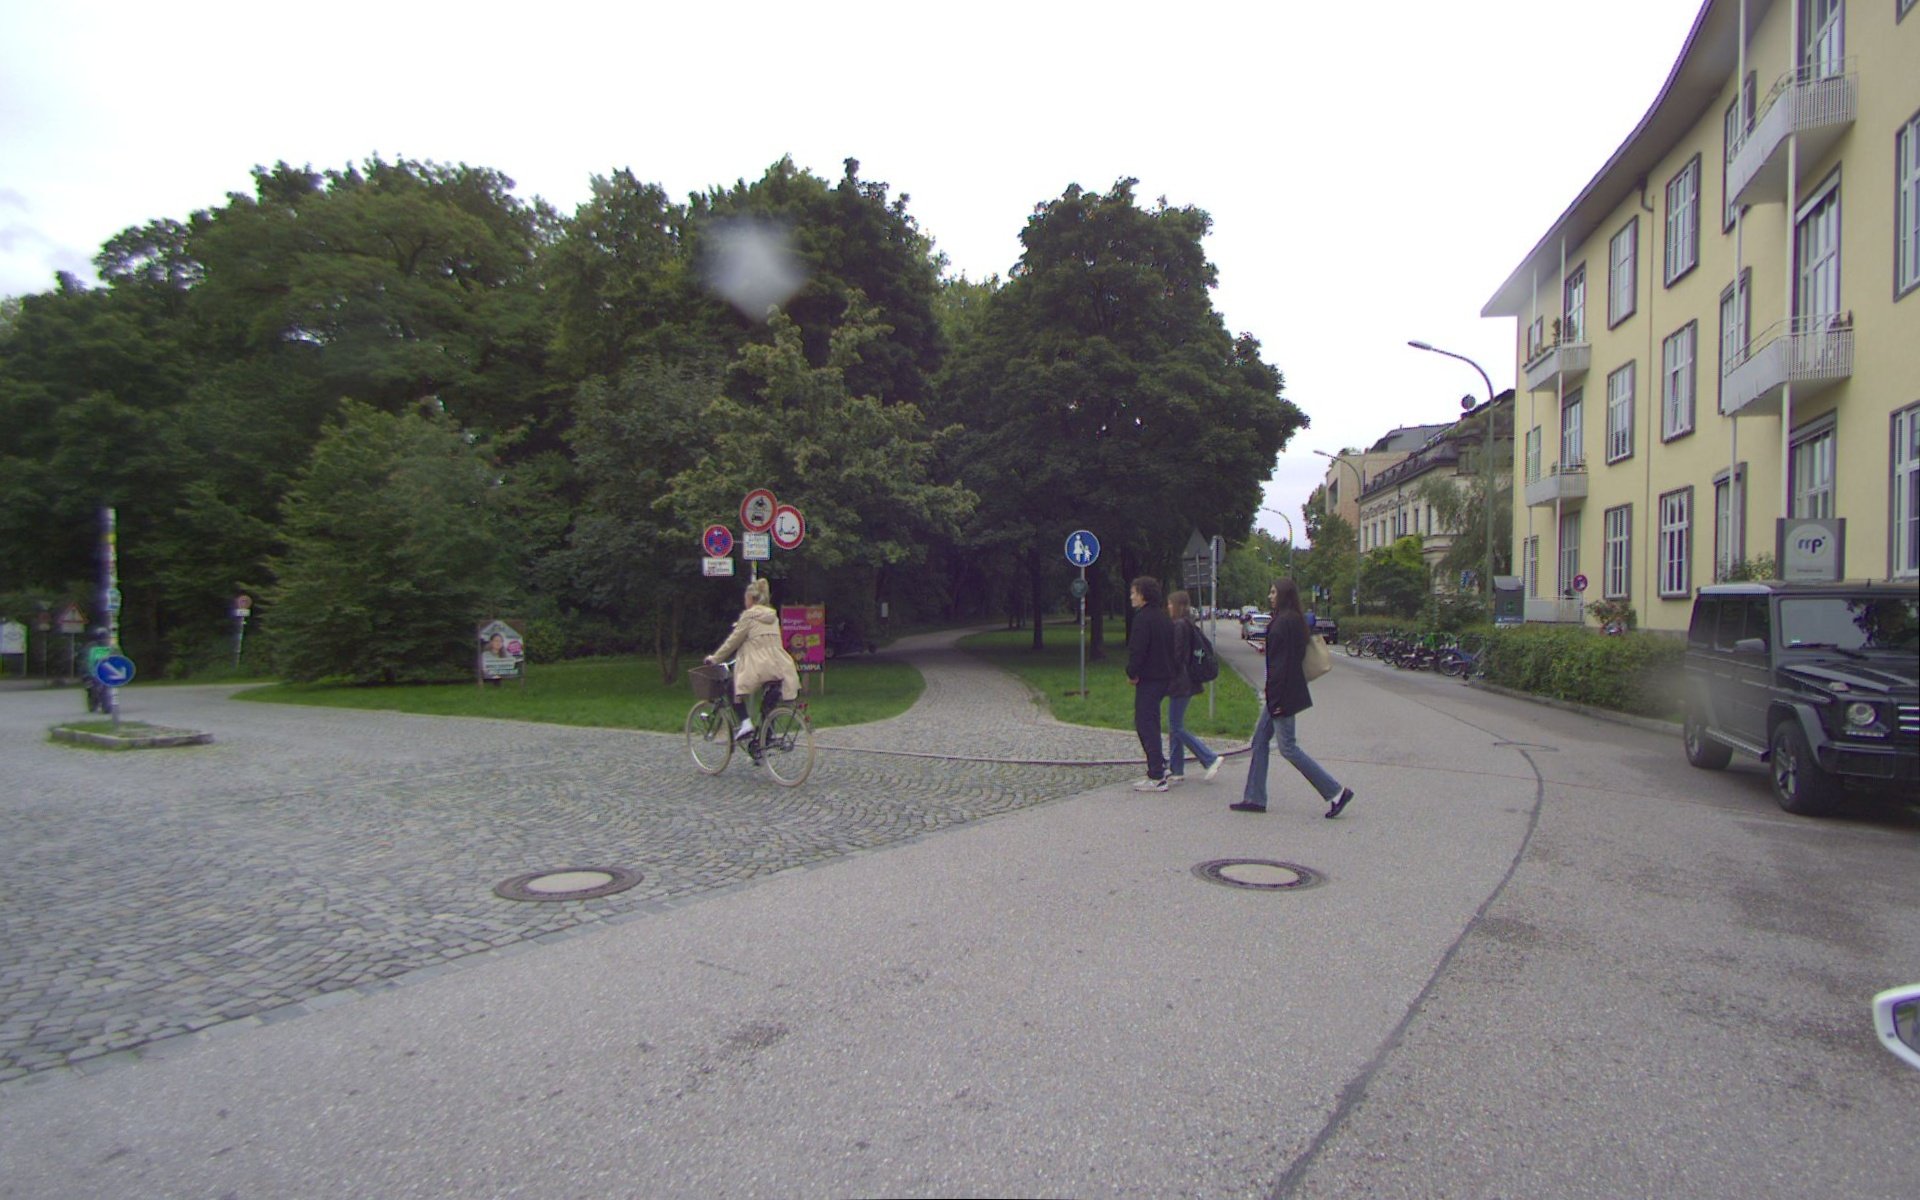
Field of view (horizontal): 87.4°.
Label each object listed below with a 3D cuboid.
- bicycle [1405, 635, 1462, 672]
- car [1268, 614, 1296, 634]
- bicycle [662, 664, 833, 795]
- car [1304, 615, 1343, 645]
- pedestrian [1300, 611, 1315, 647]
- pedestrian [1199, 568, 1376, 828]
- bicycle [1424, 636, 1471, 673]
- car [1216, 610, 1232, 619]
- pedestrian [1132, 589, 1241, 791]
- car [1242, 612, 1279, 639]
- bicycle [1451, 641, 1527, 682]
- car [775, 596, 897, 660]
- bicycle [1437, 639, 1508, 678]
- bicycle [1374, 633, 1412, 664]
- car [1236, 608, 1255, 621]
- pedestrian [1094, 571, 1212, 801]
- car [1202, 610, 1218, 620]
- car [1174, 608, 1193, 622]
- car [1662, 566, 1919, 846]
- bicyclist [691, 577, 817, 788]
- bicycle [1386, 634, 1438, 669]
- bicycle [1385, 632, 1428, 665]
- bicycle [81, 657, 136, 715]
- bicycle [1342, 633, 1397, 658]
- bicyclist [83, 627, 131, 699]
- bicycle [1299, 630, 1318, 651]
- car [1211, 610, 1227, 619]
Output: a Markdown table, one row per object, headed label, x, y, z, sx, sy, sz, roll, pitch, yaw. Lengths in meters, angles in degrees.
| label | x | y | z | sx | sy | sz | roll | pitch | yaw |
| --- | --- | --- | --- | --- | --- | --- | --- | --- | --- |
| bicycle | 14.637 | 1.648 | 31.080 | 1.584 | 1.079 | 0.477 | 2 | 0 | -10 |
| car | 24.037 | 1.779 | 75.068 | 1.596 | 1.439 | 3.795 | 2 | 0 | 12 |
| bicycle | -2.022 | 1.159 | 9.370 | 1.916 | 1.054 | 0.481 | -1 | -2 | 40 |
| car | 20.212 | 1.639 | 55.974 | 1.626 | 1.549 | 4.002 | 2 | 0 | 14 |
| pedestrian | 16.017 | 1.321 | 46.263 | 0.463 | 1.651 | 0.759 | 2 | 0 | 7 |
| pedestrian | 2.542 | 0.732 | 7.823 | 1.097 | 1.857 | 0.749 | -2 | -3 | 37 |
| bicycle | 14.698 | 1.630 | 30.279 | 1.592 | 1.079 | 0.381 | 2 | 0 | -27 |
| car | 43.621 | 2.463 | 166.150 | 1.887 | 1.409 | 3.860 | 2 | 0 | 24 |
| pedestrian | 2.134 | 0.829 | 9.475 | 0.789 | 1.805 | 0.632 | -2 | -3 | 37 |
| car | 17.291 | 1.447 | 57.952 | 1.719 | 1.409 | 3.864 | 2 | 0 | 12 |
| bicycle | 13.969 | 1.609 | 26.553 | 1.717 | 0.997 | 0.441 | 2 | 0 | 8 |
| car | -4.373 | 0.954 | 35.306 | 3.911 | 2.133 | 1.895 | 0 | 0 | -23 |
| bicycle | 14.355 | 1.636 | 28.158 | 1.717 | 0.997 | 0.364 | 2 | 0 | 10 |
| bicycle | 15.123 | 1.693 | 35.048 | 1.596 | 1.079 | 0.388 | 2 | 0 | -33 |
| car | 31.372 | 1.592 | 110.374 | 1.719 | 1.409 | 3.864 | 2 | 0 | 12 |
| pedestrian | 1.721 | 0.745 | 8.954 | 0.791 | 1.928 | 0.705 | -2 | -3 | 37 |
| car | 36.782 | 2.163 | 147.651 | 1.886 | 1.409 | 3.863 | 2 | 0 | 19 |
| car | 23.065 | 1.528 | 103.414 | 1.712 | 1.409 | 3.975 | 2 | 0 | 15 |
| car | 8.184 | 0.821 | 9.189 | 1.898 | 2.027 | 4.419 | 2 | 0 | 22 |
| bicyclist | -1.892 | 0.715 | 9.259 | 0.754 | 1.827 | 0.854 | 0 | 0 | 37 |
| bicycle | 14.493 | 1.647 | 32.201 | 1.587 | 1.079 | 0.476 | 2 | 0 | -17 |
| bicycle | 14.855 | 1.622 | 33.418 | 1.593 | 1.079 | 0.389 | 2 | 0 | -28 |
| bicycle | -16.716 | 1.665 | 19.703 | 1.734 | 1.073 | 0.462 | -3 | -3 | 37 |
| bicycle | 16.747 | 1.843 | 41.104 | 1.994 | 0.920 | 0.547 | 2 | 0 | 10 |
| bicyclist | -16.718 | 1.226 | 19.698 | 0.750 | 1.392 | 0.562 | -2 | -2 | 37 |
| bicycle | 15.994 | 1.845 | 46.167 | 0.473 | 0.920 | 1.632 | 2 | 0 | 7 |
| car | 41.530 | 2.375 | 161.184 | 1.887 | 1.409 | 3.860 | 2 | 0 | 24 |
